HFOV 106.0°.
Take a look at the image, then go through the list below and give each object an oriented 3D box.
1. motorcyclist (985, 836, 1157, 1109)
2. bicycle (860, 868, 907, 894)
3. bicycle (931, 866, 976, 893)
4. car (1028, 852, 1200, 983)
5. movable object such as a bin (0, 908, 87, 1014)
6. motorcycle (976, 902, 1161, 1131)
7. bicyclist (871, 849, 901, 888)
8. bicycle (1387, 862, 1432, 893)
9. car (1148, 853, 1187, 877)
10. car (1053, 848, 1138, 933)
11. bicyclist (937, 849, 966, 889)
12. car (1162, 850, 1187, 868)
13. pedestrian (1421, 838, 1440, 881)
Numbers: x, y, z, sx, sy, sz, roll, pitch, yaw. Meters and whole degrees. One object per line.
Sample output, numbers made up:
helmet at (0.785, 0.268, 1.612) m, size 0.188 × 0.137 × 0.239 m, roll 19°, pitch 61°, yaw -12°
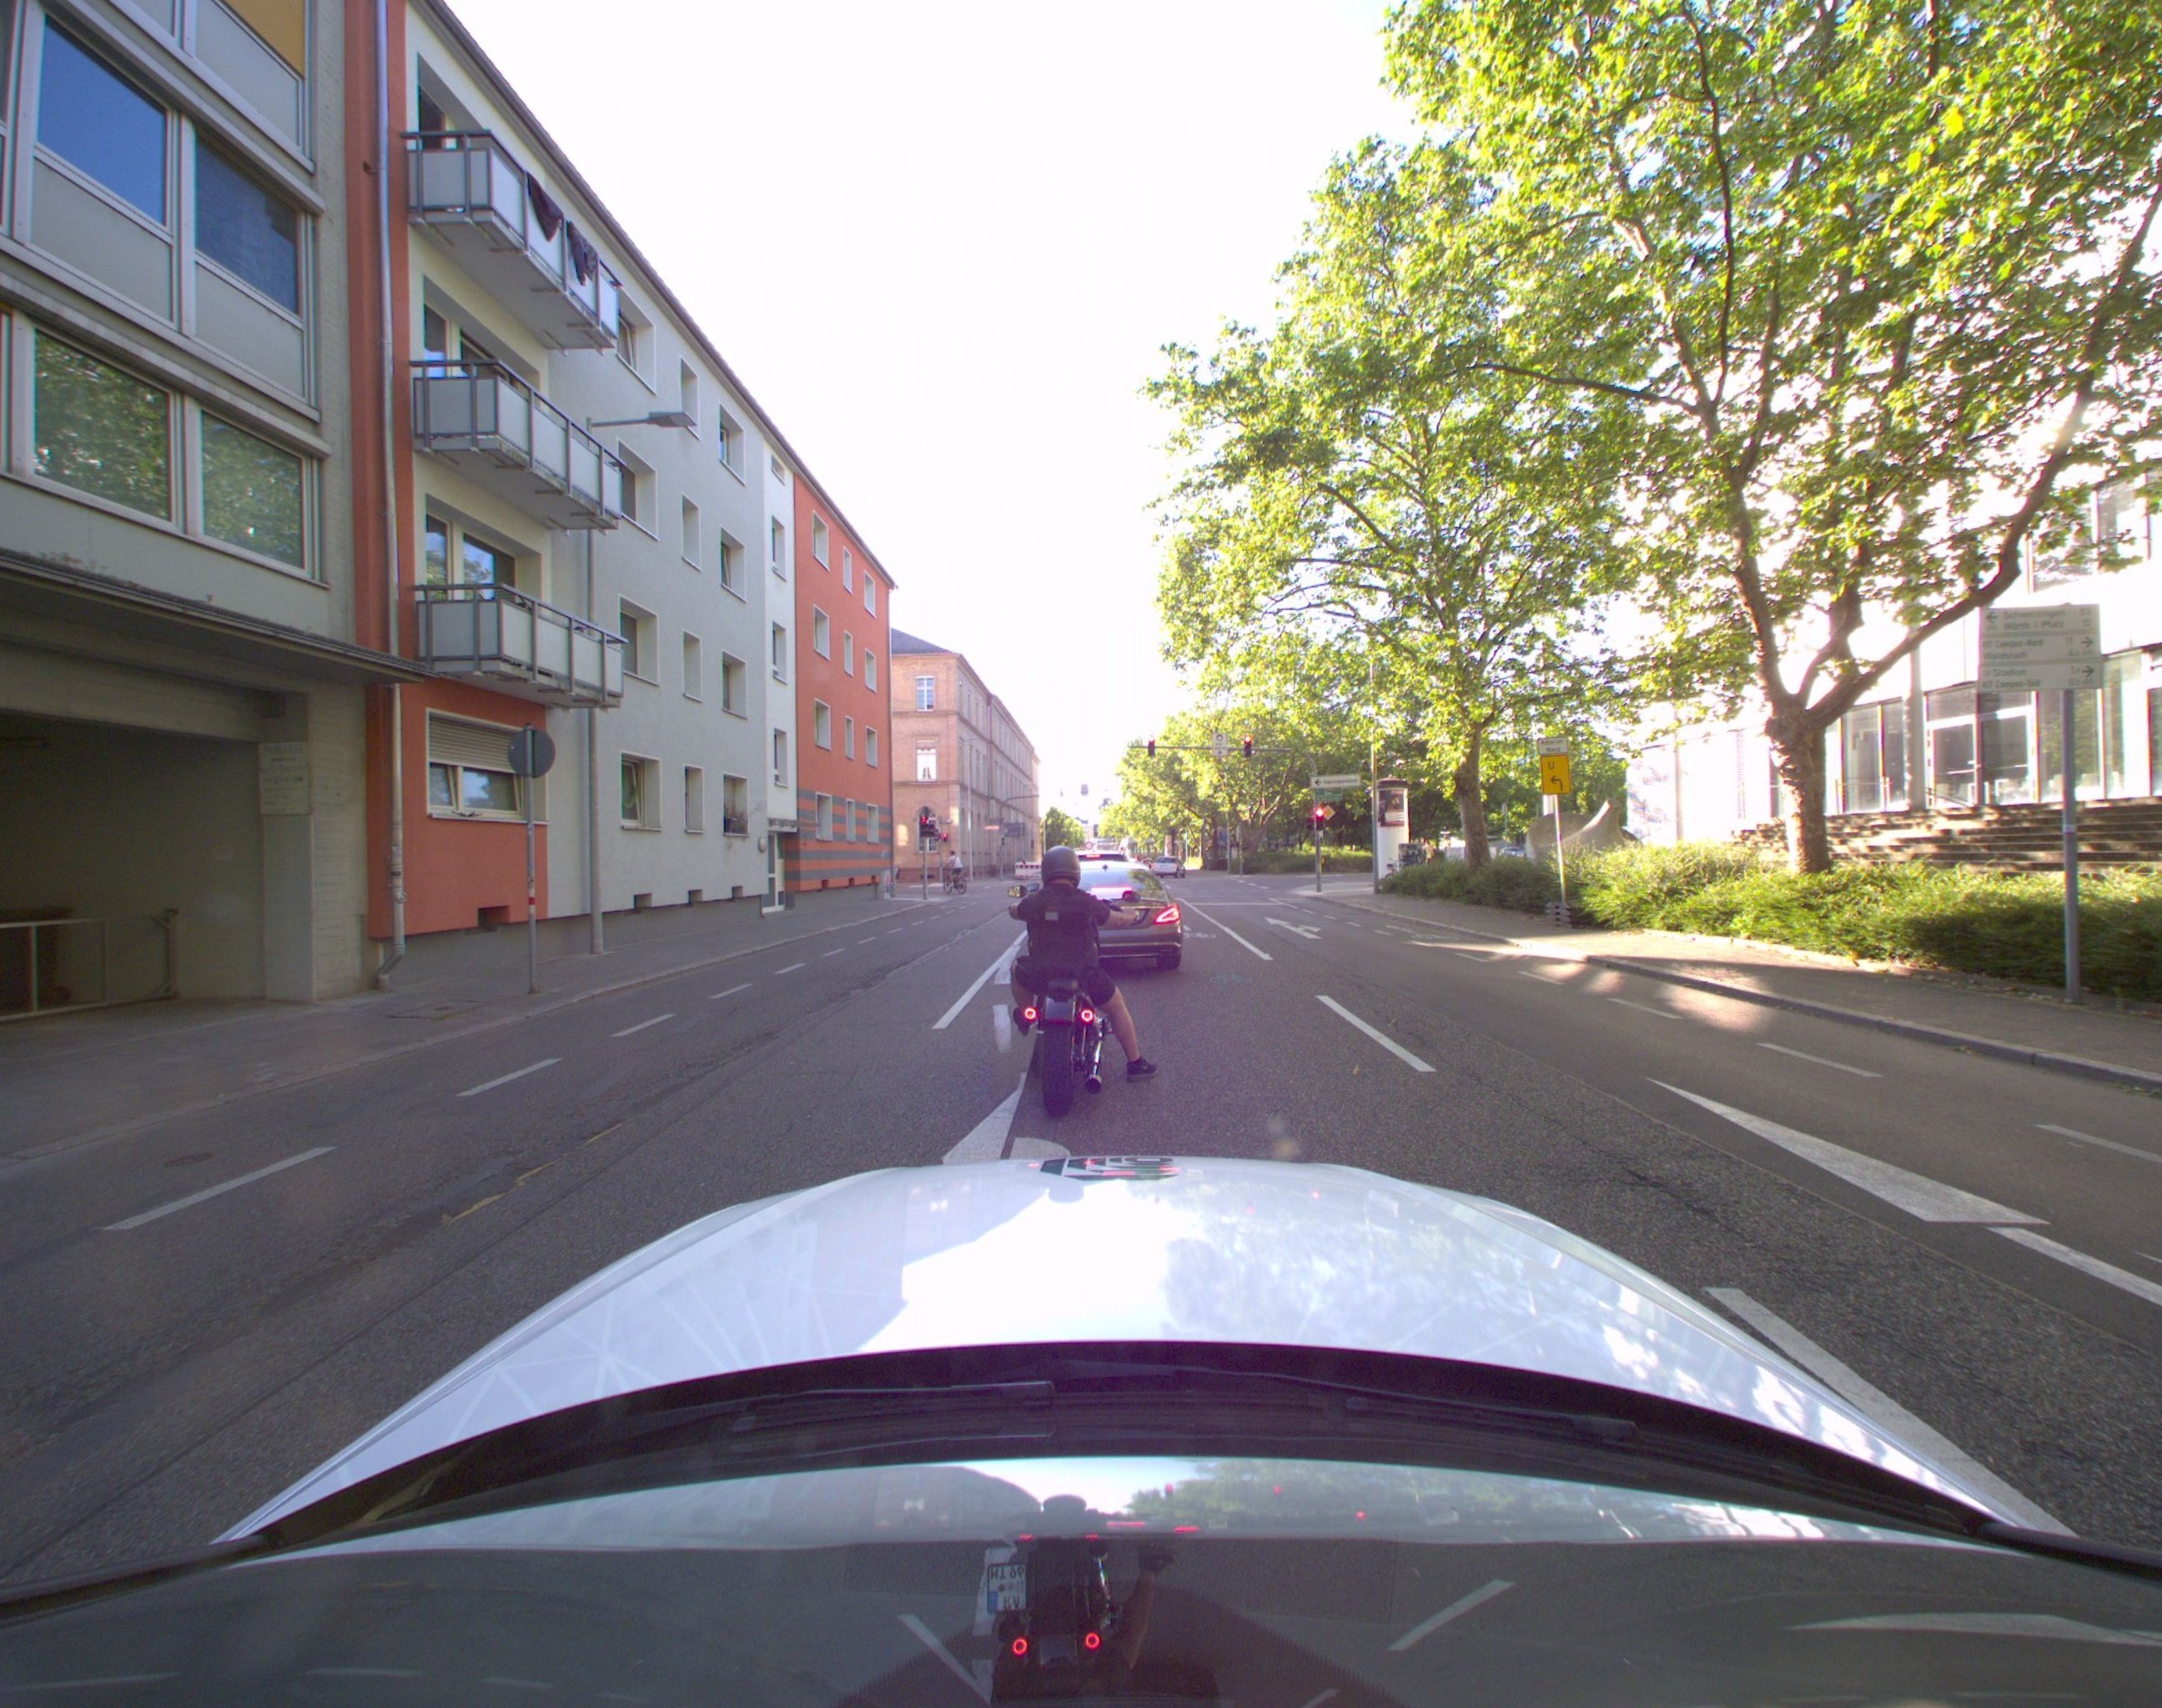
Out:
motorcyclist at (-0.037, 0.700, 5.511) m, size 0.986 × 1.597 × 1.404 m, roll -1°, pitch 0°, yaw 2°
bicycle at (-9.006, 1.225, 37.144) m, size 2.136 × 1.103 × 0.710 m, roll -3°, pitch -1°, yaw 28°
bicycle at (-5.485, 1.082, 35.008) m, size 1.855 × 1.103 × 0.710 m, roll -1°, pitch 0°, yaw 33°
car at (0.256, 0.743, 11.703) m, size 1.943 × 1.473 × 4.355 m, roll -1°, pitch 0°, yaw -5°
movable object such as a bin at (-11.317, 1.115, 8.665) m, size 0.593 × 1.041 × 0.703 m, roll 0°, pitch -1°, yaw 1°
motorcycle at (-0.028, 0.959, 5.664) m, size 0.986 × 1.078 × 2.453 m, roll -1°, pitch 0°, yaw 2°
bicyclist at (-8.886, 0.657, 37.100) m, size 1.034 × 1.695 × 0.710 m, roll -3°, pitch -1°, yaw 27°
bicycle at (11.051, 0.792, 27.448) m, size 1.346 × 1.023 × 0.363 m, roll -1°, pitch 0°, yaw 2°
car at (5.762, 0.691, 53.923) m, size 1.807 × 1.481 × 3.925 m, roll -3°, pitch 0°, yaw 16°
car at (0.320, 0.707, 17.872) m, size 1.606 × 1.607 × 4.329 m, roll -1°, pitch 0°, yaw 1°
bicyclist at (-5.566, 0.645, 35.052) m, size 0.952 × 1.692 × 0.710 m, roll -2°, pitch 0°, yaw 33°
car at (7.697, 0.410, 67.186) m, size 1.848 × 1.486 × 3.912 m, roll 0°, pitch -1°, yaw 3°
pedestrian at (14.985, 0.236, 34.955) m, size 0.549 × 1.849 × 0.594 m, roll -1°, pitch 0°, yaw 3°
